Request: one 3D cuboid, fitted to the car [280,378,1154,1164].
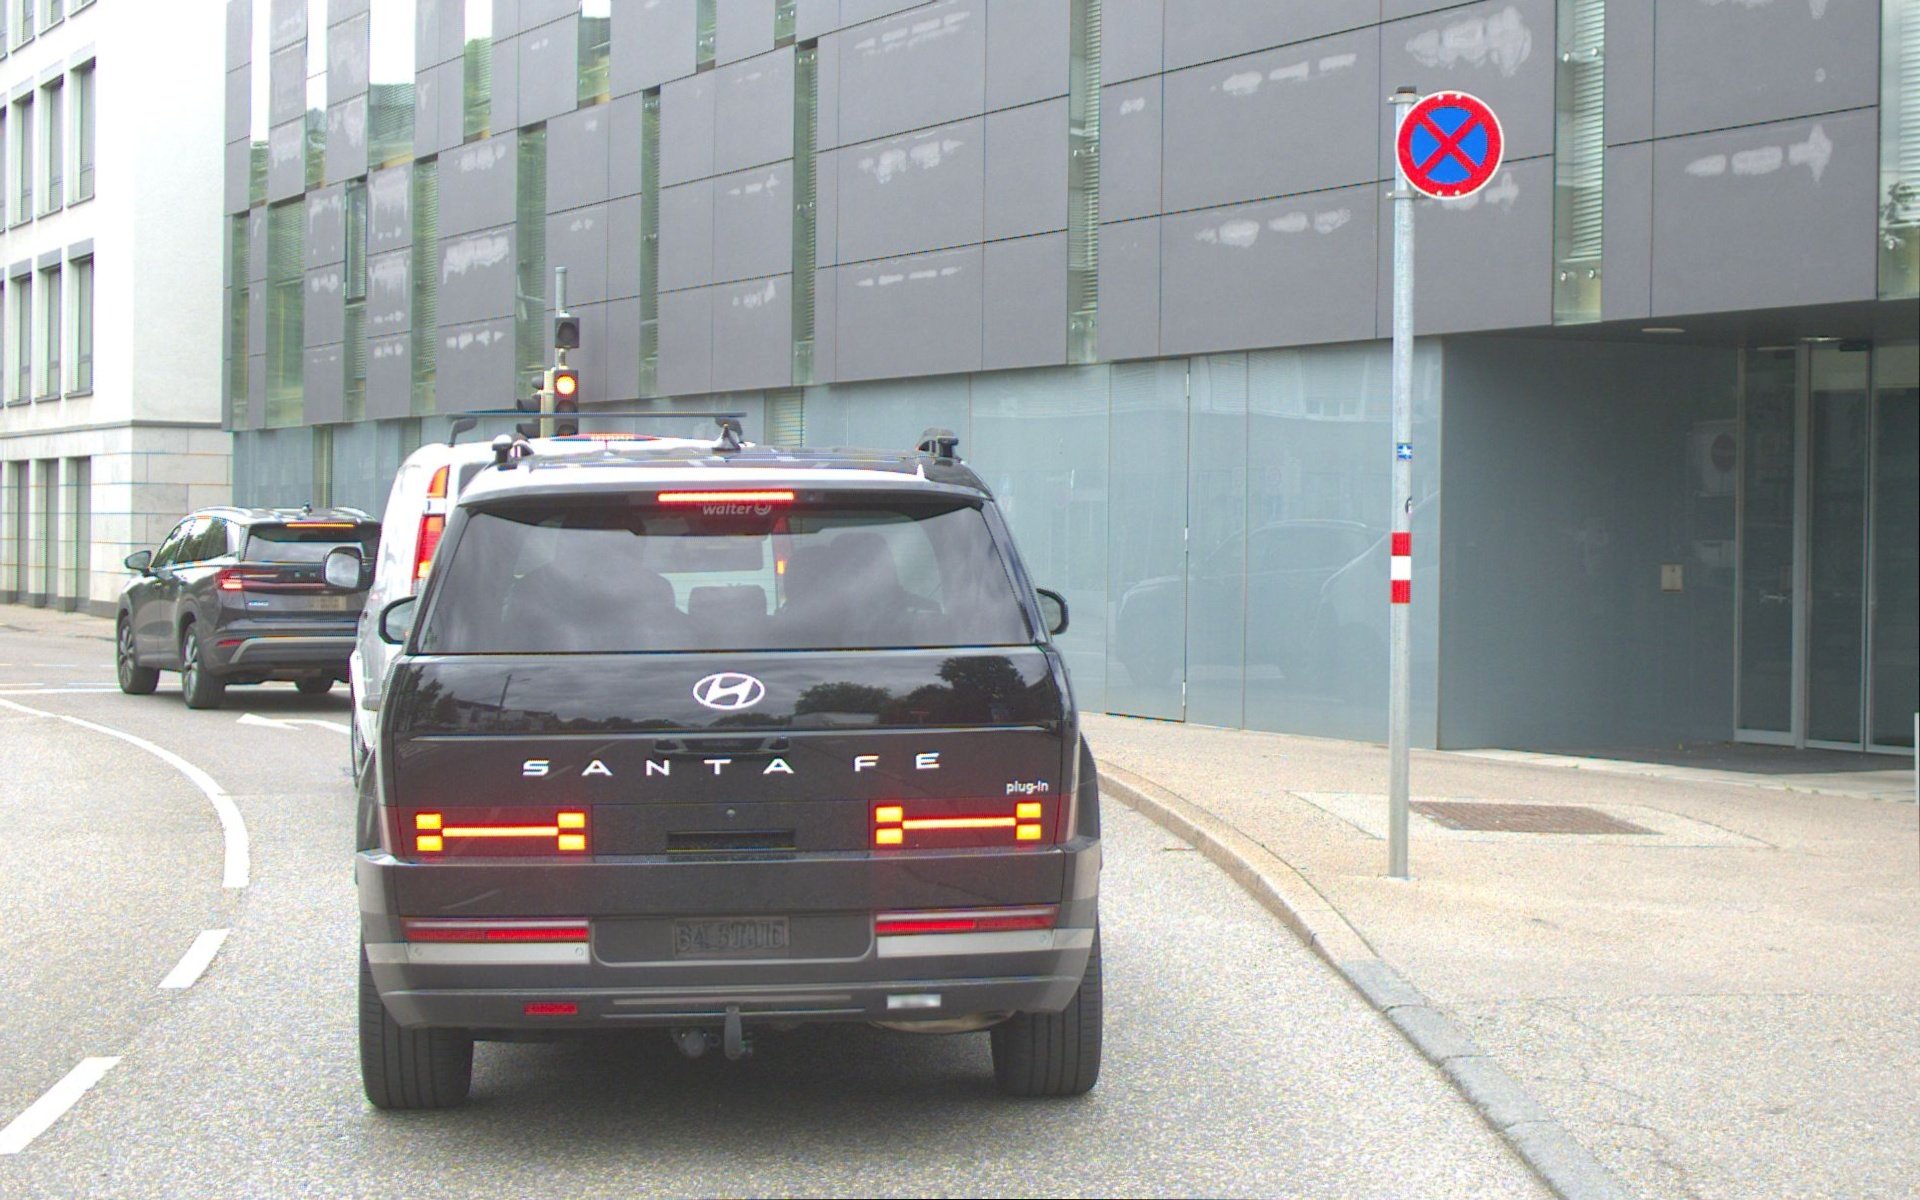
[{"bbox_3d":[-0.689,0.349,9.889,1.915,1.719,4.171,2,1,-4],"label":"car"}]

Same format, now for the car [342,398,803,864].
[{"bbox_3d":[-2.084,0.074,17.304,1.855,2.026,4.439,0,2,-12],"label":"car"}]

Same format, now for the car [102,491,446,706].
[{"bbox_3d":[-5.903,-0.051,29.189,1.847,1.671,4.376,-1,1,-25],"label":"car"}]
